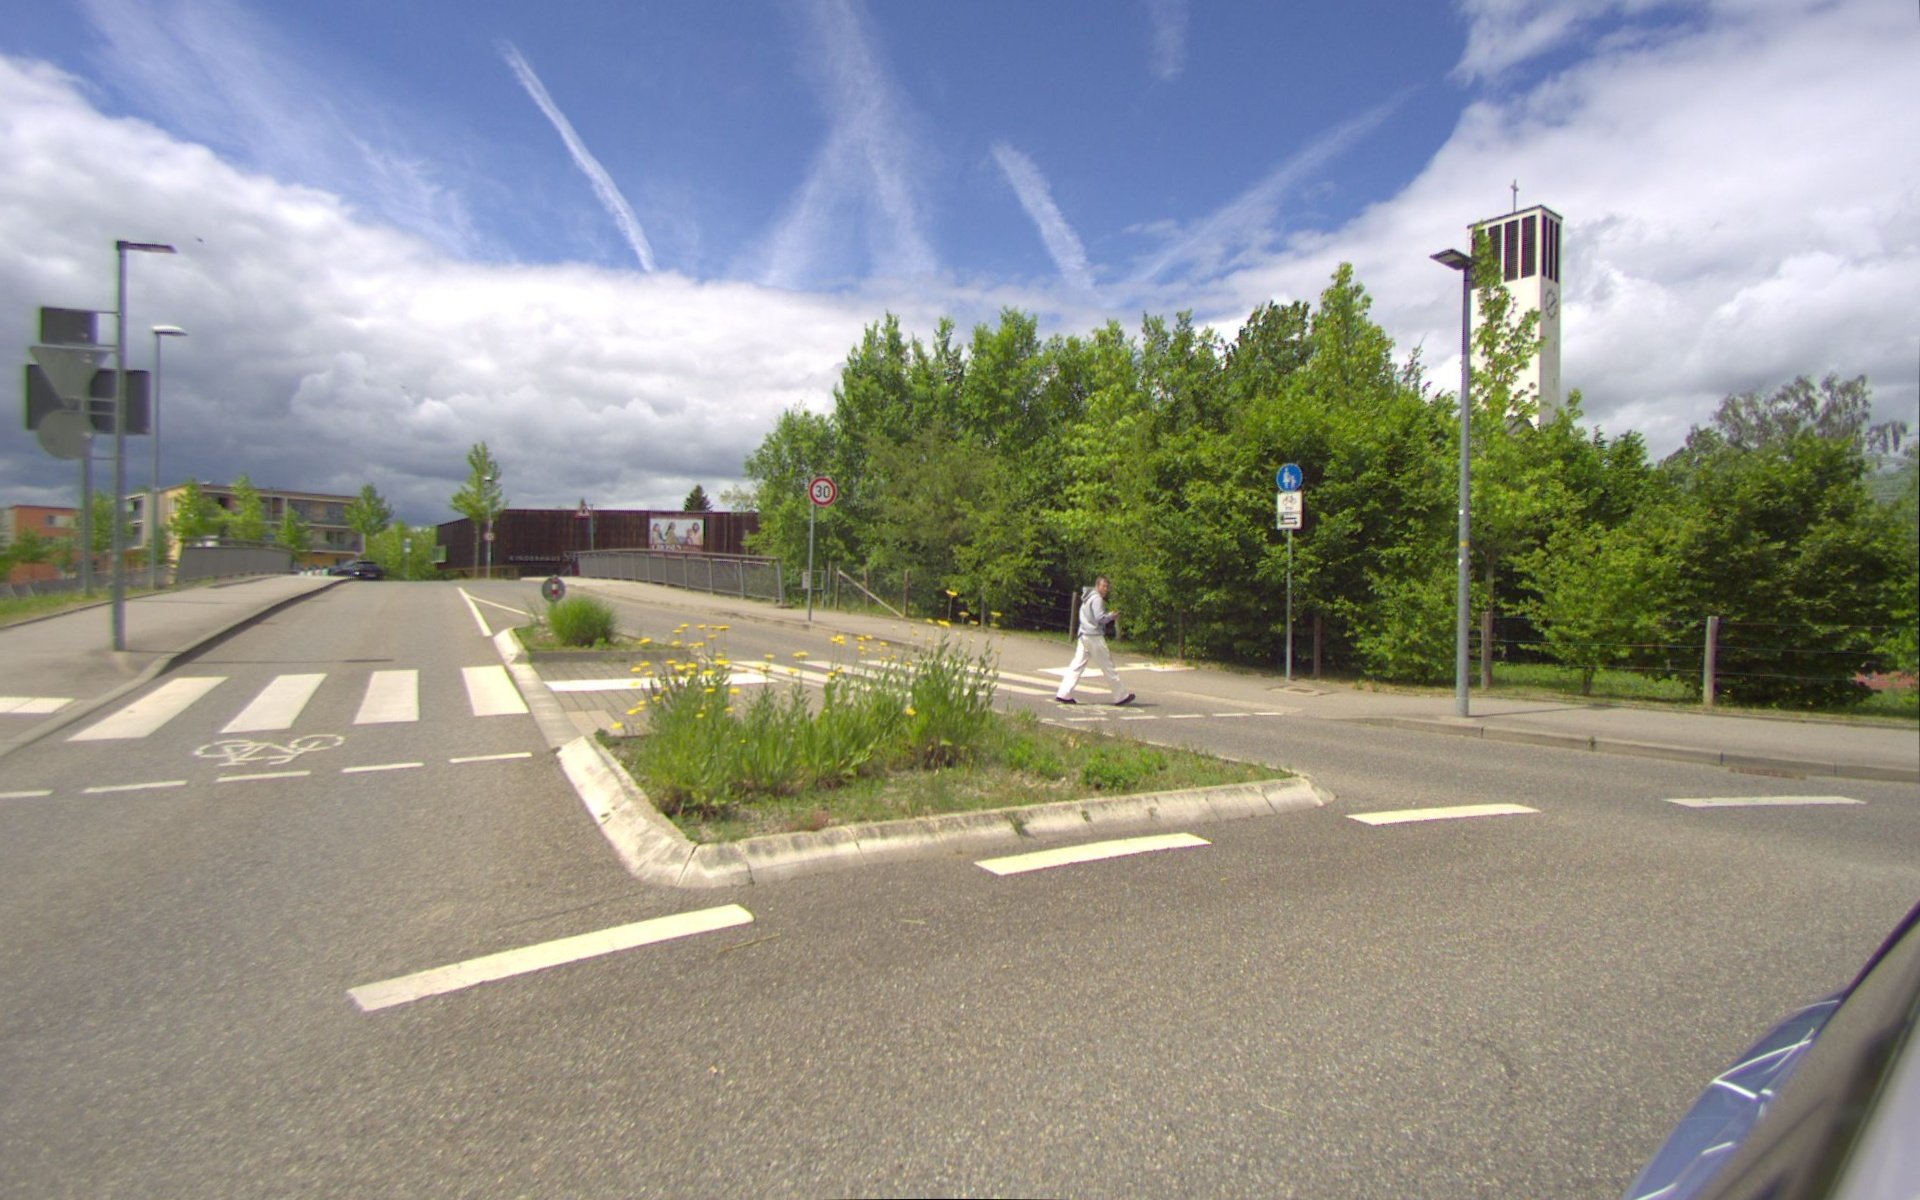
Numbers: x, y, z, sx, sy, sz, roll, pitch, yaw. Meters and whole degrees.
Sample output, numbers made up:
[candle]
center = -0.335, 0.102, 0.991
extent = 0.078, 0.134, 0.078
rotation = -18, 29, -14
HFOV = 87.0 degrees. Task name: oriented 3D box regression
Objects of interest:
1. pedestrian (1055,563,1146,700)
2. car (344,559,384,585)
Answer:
[pedestrian]
center = 1.650, 0.369, 12.046
extent = 1.019, 1.561, 0.893
rotation = 0, -2, 6
[car]
center = -39.192, -1.790, 66.523
extent = 1.877, 1.471, 3.998
rotation = 1, -2, -36
